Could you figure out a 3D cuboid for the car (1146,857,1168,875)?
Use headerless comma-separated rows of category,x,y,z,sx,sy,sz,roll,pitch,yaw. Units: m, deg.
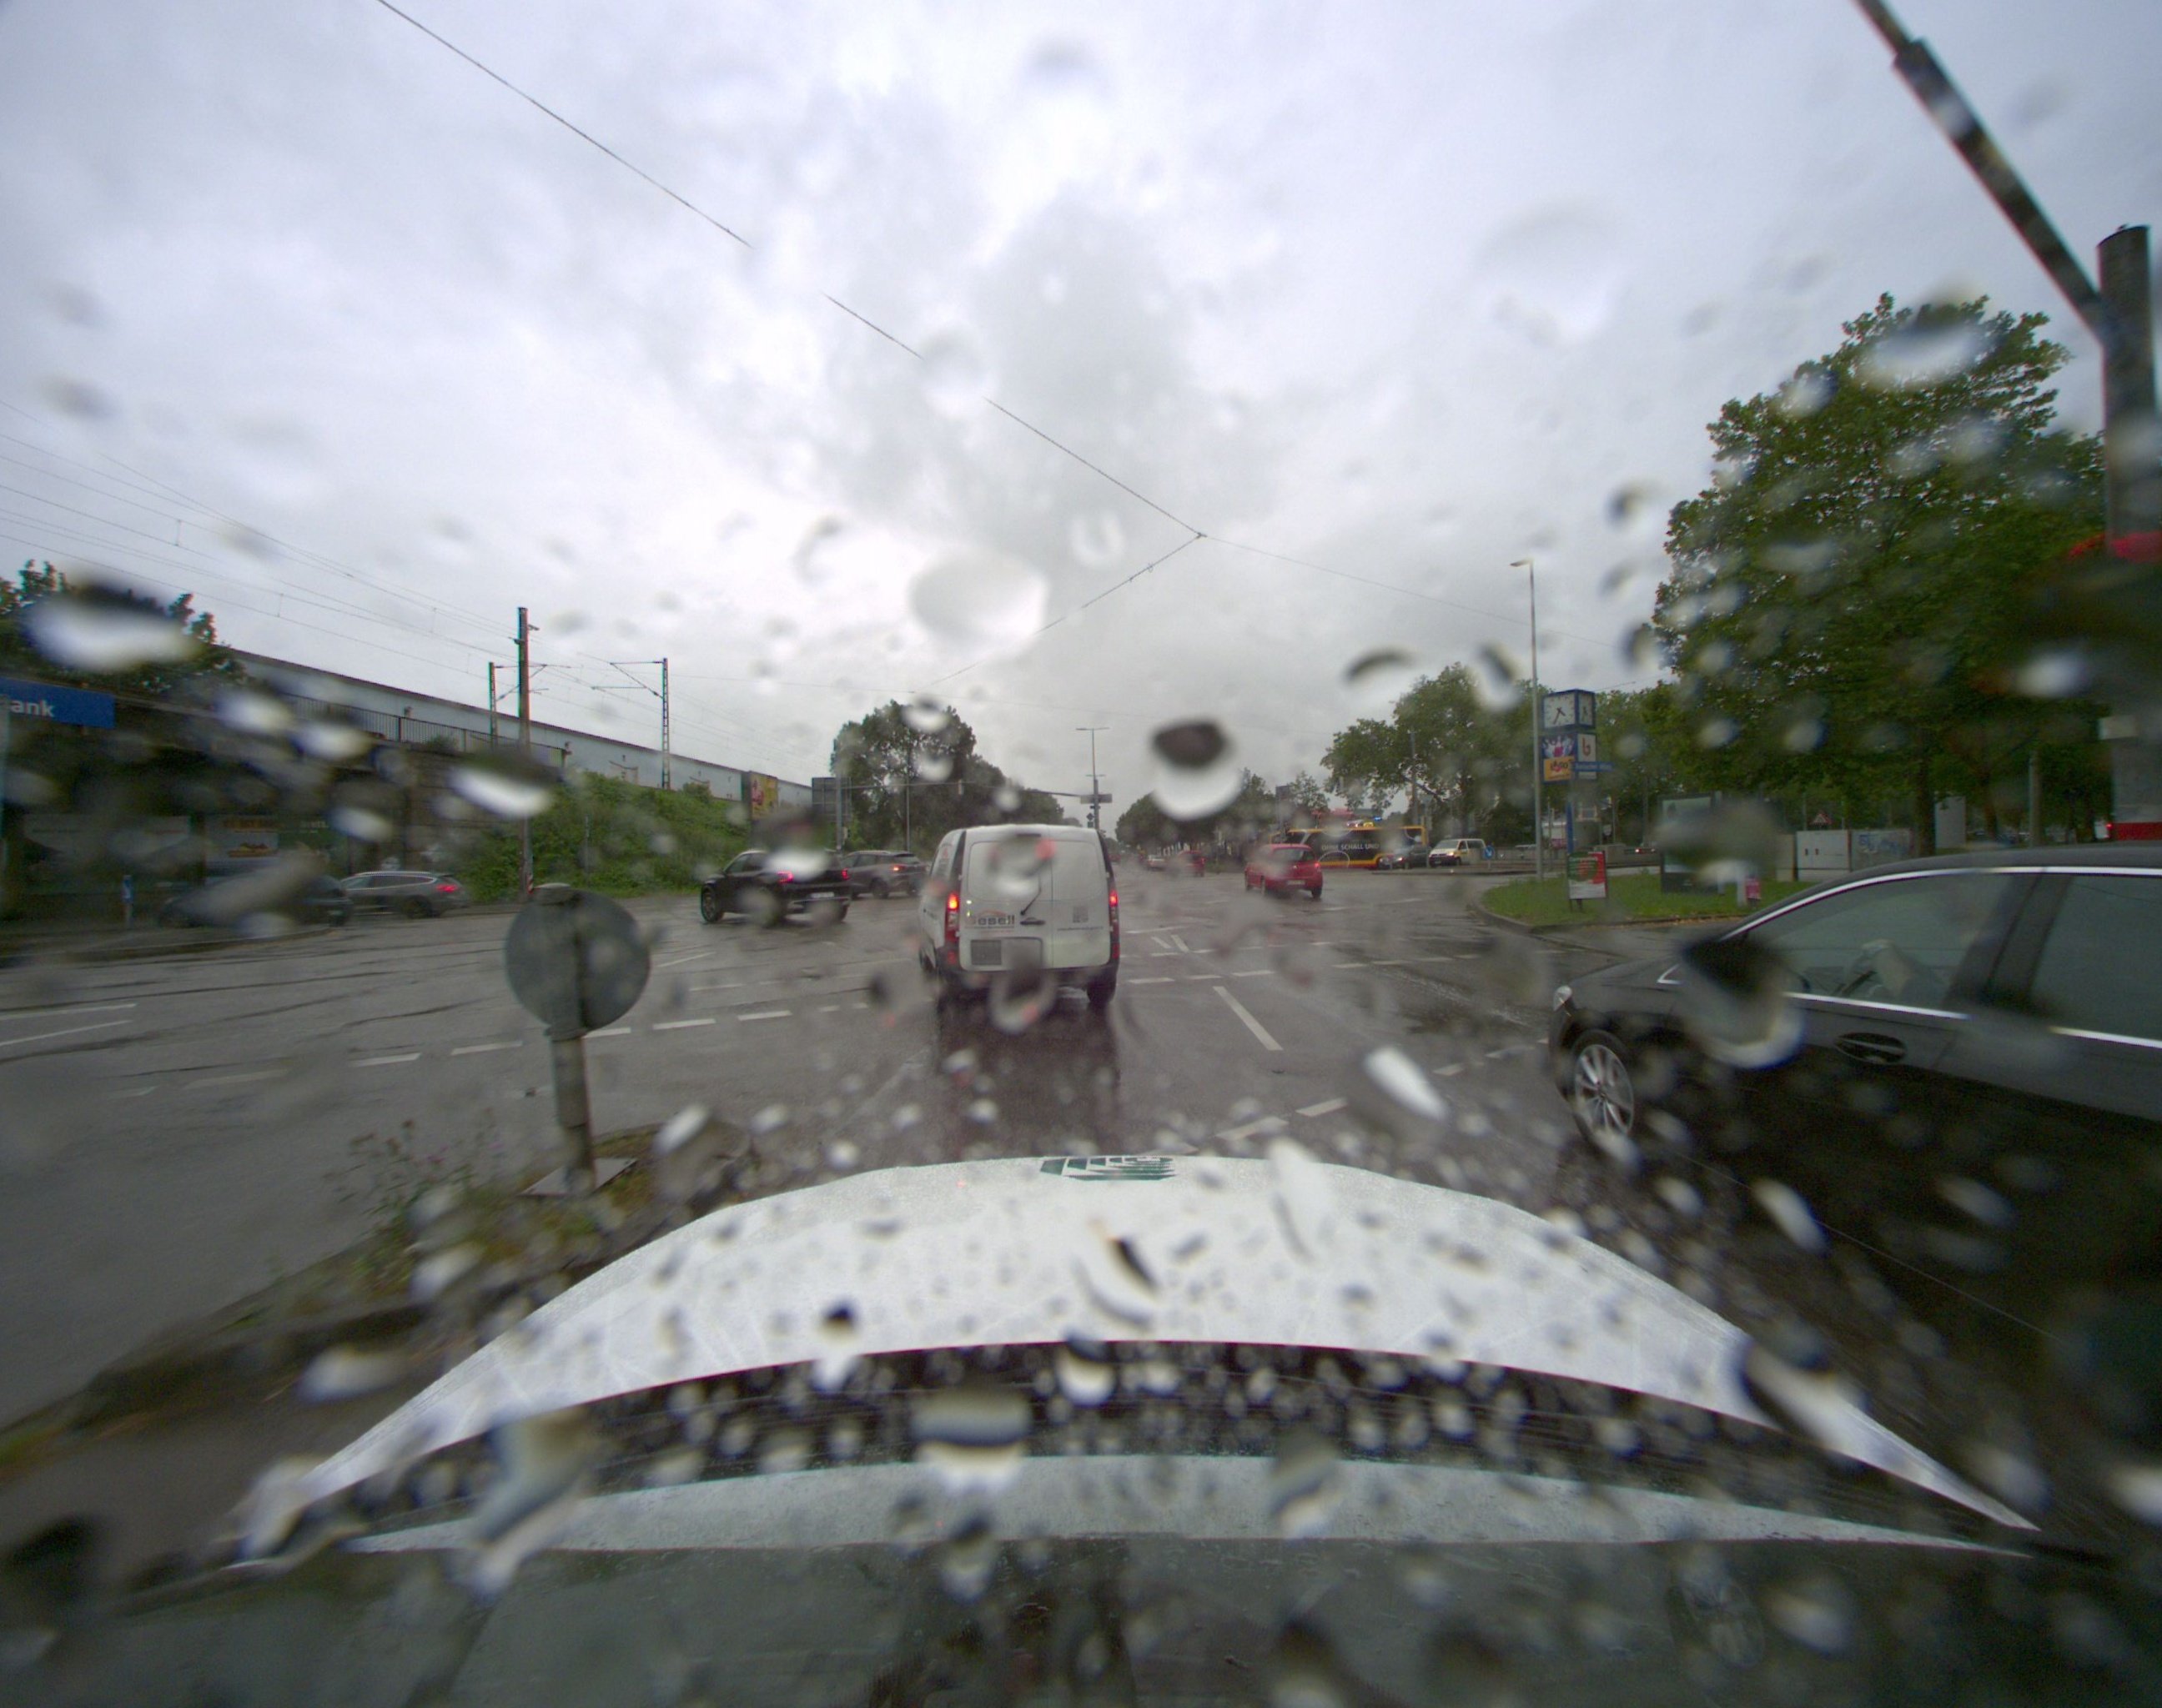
car,6.915,1.093,74.439,1.835,1.618,4.002,0,0,2

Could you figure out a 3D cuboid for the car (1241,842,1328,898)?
car,5.823,0.417,23.717,1.673,1.491,3.621,0,0,1

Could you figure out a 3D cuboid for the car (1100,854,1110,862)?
car,5.169,0.932,172.402,1.990,1.618,4.000,-2,0,0

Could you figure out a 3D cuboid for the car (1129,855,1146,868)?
car,7.433,0.949,108.154,1.990,1.618,4.000,-2,0,0

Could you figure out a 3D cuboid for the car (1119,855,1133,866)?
car,6.956,0.940,125.510,1.990,1.618,4.000,-2,0,0

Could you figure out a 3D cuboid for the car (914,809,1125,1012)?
car,-0.922,0.499,9.286,1.758,1.777,3.981,1,0,-14

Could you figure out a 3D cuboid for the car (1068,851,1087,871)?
car,-0.345,0.599,73.599,1.596,1.720,3.997,-1,0,-2

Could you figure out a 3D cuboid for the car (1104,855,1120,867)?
car,4.288,0.971,112.869,1.990,1.618,4.000,-2,0,0

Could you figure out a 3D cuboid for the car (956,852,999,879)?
car,-6.870,0.760,54.591,2.013,1.657,4.066,-1,0,4

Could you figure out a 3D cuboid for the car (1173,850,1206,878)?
car,6.771,0.589,51.086,1.627,1.655,3.485,1,0,1

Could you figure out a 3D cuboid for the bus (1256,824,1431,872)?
bus,19.843,-0.452,62.067,12.210,3.268,3.274,-2,0,-1

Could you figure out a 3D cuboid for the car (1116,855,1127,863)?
car,8.317,0.994,167.577,1.990,1.618,4.000,-2,0,0

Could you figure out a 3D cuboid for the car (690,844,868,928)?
car,-6.665,0.648,17.813,3.949,1.609,1.936,-1,0,40

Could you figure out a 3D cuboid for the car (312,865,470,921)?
car,-20.739,1.118,24.646,3.366,1.473,1.554,-2,0,-30

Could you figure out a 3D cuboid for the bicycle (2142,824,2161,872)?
bicycle,32.295,-0.174,23.291,0.799,1.442,2.681,0,0,11

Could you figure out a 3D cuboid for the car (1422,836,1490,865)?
car,25.221,-0.252,54.680,4.767,1.849,2.055,-2,0,-36

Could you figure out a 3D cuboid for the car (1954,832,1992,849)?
car,85.492,-1.302,78.070,4.016,1.552,1.823,-2,0,-34

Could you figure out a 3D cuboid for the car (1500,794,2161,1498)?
car,3.289,0.607,2.639,1.863,1.523,4.089,-1,0,2

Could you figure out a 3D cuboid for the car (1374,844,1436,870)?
car,22.240,0.168,55.886,4.361,1.651,1.912,-2,0,-36

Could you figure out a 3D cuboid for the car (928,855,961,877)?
car,-9.845,0.856,58.856,1.822,1.482,3.997,-1,0,-2

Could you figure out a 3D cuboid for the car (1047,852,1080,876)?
car,-1.268,0.717,62.203,2.160,1.720,4.306,-1,0,3

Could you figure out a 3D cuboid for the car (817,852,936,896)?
car,-6.383,0.625,25.444,3.218,1.283,1.696,-1,0,24

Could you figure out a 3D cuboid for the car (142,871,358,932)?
car,-20.772,1.152,20.497,3.449,1.306,1.577,-2,0,-12
